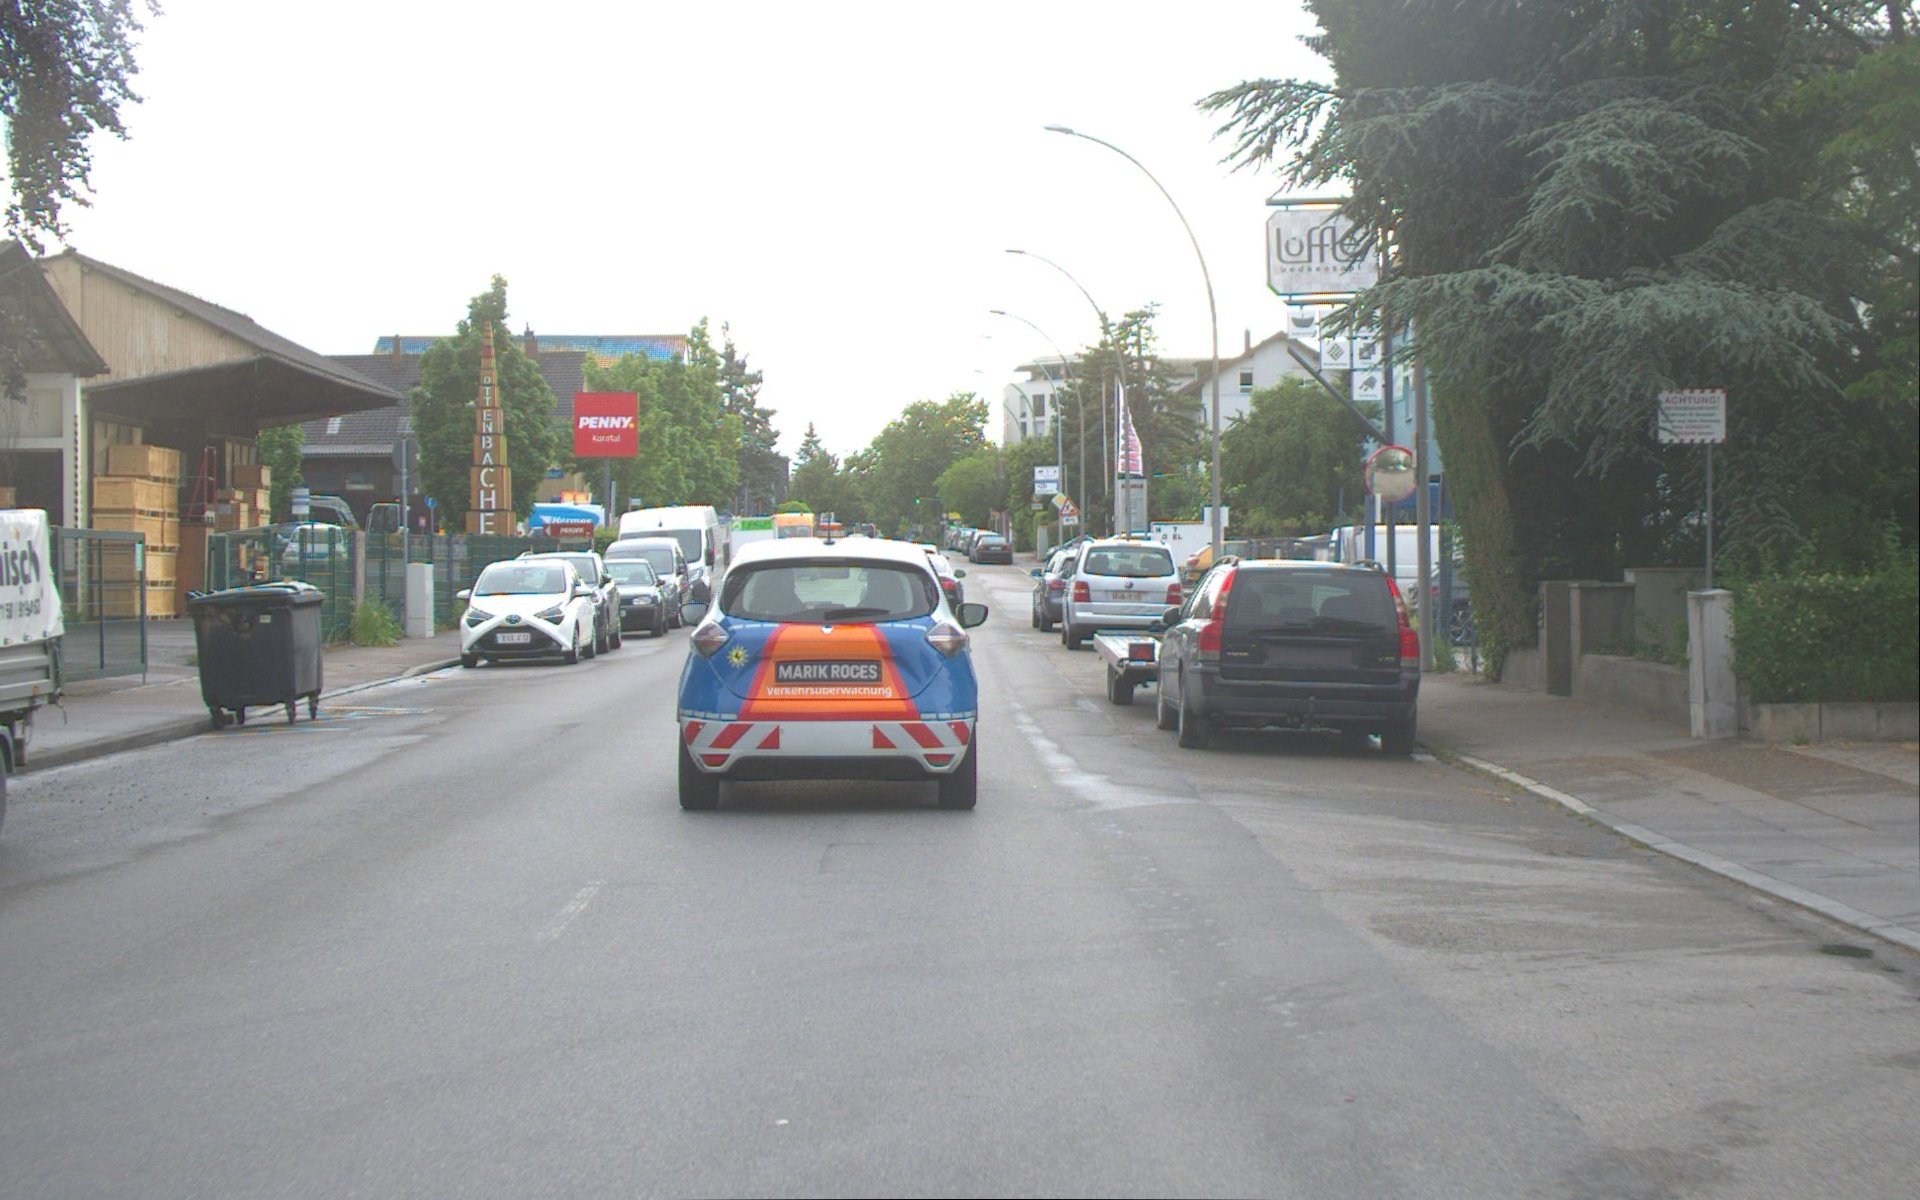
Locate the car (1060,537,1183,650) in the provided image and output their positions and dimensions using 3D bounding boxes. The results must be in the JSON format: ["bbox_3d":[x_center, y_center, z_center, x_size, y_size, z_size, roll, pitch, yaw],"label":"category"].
[{"bbox_3d":[2.398,-0.124,51.963,1.739,1.616,4.373,1,1,1],"label":"car"}]

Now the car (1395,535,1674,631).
[{"bbox_3d":[9.154,-0.280,54.997,4.103,1.452,2.000,1,1,0],"label":"car"}]

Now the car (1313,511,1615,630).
[{"bbox_3d":[8.385,-0.498,57.499,4.731,1.880,2.000,1,1,0],"label":"car"}]

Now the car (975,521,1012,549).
[{"bbox_3d":[1.585,-3.132,164.958,1.589,1.336,4.093,0,1,-2],"label":"car"}]

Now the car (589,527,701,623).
[{"bbox_3d":[-6.346,-0.518,69.674,1.769,1.762,4.446,-4,1,0],"label":"car"}]

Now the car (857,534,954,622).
[{"bbox_3d":[-1.015,-0.410,62.340,1.650,1.516,4.000,1,1,-2],"label":"car"}]

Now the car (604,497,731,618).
[{"bbox_3d":[-6.362,-0.966,75.460,2.158,2.418,6.460,-3,1,0],"label":"car"}]

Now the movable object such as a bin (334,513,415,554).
[{"bbox_3d":[-26.043,-2.946,152.970,3.421,1.753,2.000,1,1,-7],"label":"movable object such as a bin"}]

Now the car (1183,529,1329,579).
[{"bbox_3d":[8.457,-1.328,98.279,3.986,1.425,1.631,0,1,-2],"label":"car"}]

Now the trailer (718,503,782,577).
[{"bbox_3d":[-6.864,-1.979,112.840,1.812,2.306,4.731,-3,1,-1],"label":"trailer"}]

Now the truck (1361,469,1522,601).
[{"bbox_3d":[14.294,-1.932,102.277,4.143,3.661,2.720,3,1,-3],"label":"truck"}]

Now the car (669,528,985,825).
[{"bbox_3d":[-0.775,0.395,20.697,1.731,1.625,3.495,0,1,-1],"label":"car"}]

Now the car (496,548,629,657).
[{"bbox_3d":[-6.218,0.010,54.081,1.661,1.579,3.917,-2,1,-1],"label":"car"}]

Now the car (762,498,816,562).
[{"bbox_3d":[-7.094,-2.922,142.951,2.124,2.529,6.023,-1,1,-2],"label":"car"}]

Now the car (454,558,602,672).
[{"bbox_3d":[-6.141,0.181,49.155,1.616,1.504,3.660,-2,1,0],"label":"car"}]

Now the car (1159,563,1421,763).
[{"bbox_3d":[2.557,0.437,27.556,1.740,1.428,4.648,1,1,1],"label":"car"}]

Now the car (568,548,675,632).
[{"bbox_3d":[-6.187,-0.209,63.237,1.661,1.443,4.318,-2,1,-2],"label":"car"}]

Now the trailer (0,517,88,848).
[{"bbox_3d":[-6.075,0.445,17.889,1.929,1.759,4.548,0,1,0],"label":"trailer"}]

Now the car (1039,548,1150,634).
[{"bbox_3d":[2.383,-0.193,61.785,1.738,1.461,4.546,1,1,-1],"label":"car"}]

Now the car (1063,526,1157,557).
[{"bbox_3d":[6.437,-2.517,147.950,3.987,1.262,1.951,1,1,1],"label":"car"}]

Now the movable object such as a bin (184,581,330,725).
[{"bbox_3d":[-6.642,0.488,32.561,1.100,1.306,1.425,1,1,-1],"label":"movable object such as a bin"}]

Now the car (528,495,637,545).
[{"bbox_3d":[-15.767,-3.351,143.856,4.306,2.007,2.063,1,1,0],"label":"car"}]

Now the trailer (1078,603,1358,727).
[{"bbox_3d":[2.408,0.577,33.864,2.173,0.894,6.637,1,1,-1],"label":"trailer"}]
